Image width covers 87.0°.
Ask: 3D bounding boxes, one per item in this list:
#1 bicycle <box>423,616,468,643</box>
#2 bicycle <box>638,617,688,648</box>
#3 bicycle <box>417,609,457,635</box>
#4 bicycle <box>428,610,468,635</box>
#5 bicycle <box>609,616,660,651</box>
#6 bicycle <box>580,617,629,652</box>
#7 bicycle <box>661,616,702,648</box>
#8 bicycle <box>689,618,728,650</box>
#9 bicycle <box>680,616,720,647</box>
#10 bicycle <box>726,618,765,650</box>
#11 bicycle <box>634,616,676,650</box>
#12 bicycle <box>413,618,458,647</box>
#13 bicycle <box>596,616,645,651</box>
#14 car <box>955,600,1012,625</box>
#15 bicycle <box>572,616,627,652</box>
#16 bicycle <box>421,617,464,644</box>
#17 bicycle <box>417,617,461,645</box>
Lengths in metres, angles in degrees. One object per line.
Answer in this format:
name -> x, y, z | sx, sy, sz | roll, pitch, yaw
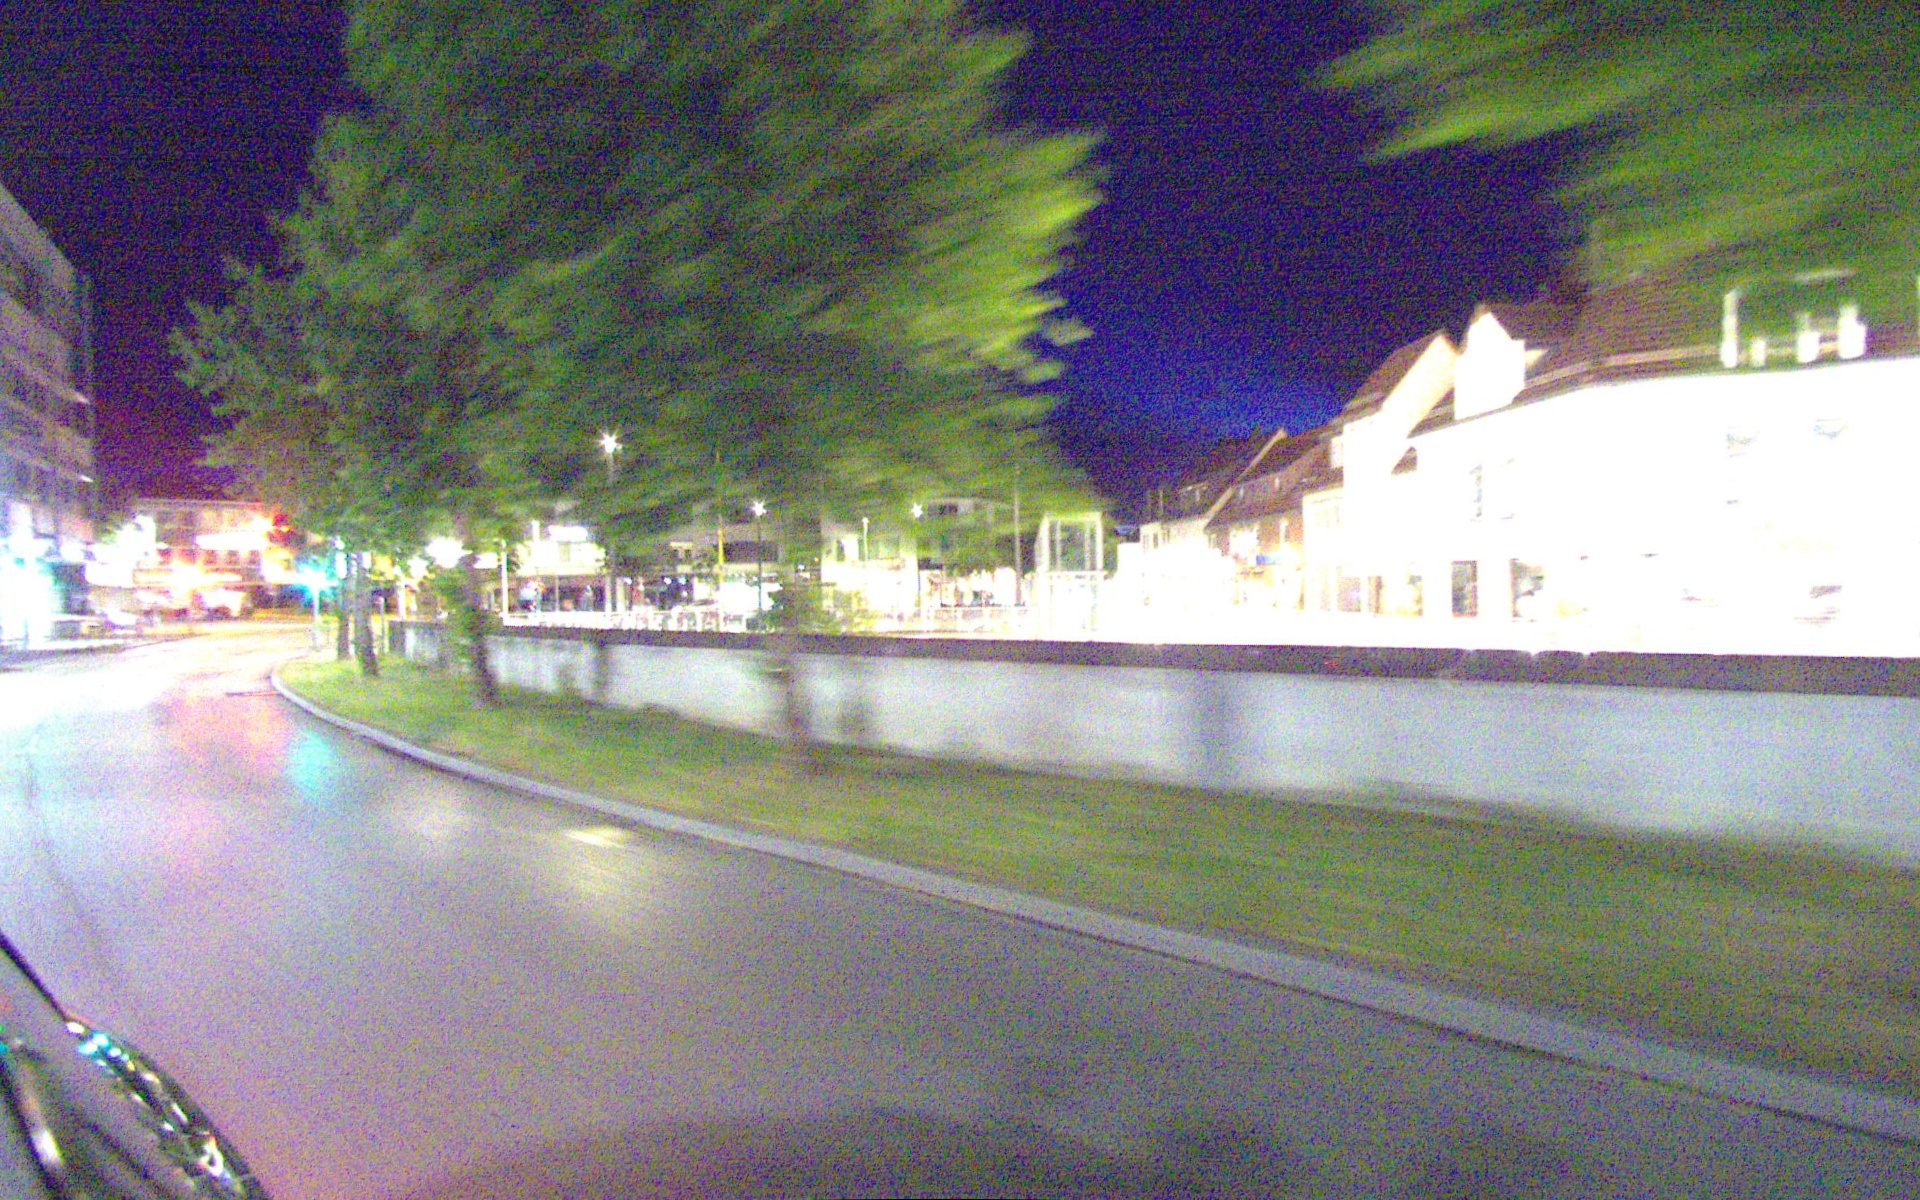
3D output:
bicycle -> -23.025, 1.308, 45.301 | 1.744, 1.173, 0.672 | -1, 0, -30
bicycle -> -10.615, 1.161, 36.163 | 1.737, 1.078, 0.604 | -1, -2, 25
bicycle -> -26.403, 1.098, 51.138 | 1.710, 1.175, 0.789 | -4, 1, -24
bicycle -> -27.031, 1.199, 53.491 | 1.808, 1.166, 0.790 | -4, 2, -24
bicycle -> -11.025, 1.137, 34.289 | 1.739, 1.174, 0.603 | -2, -2, 29
bicycle -> -12.059, 1.159, 34.307 | 1.739, 1.163, 0.539 | -2, -2, 29
bicycle -> -10.166, 1.161, 36.924 | 1.747, 1.133, 0.600 | -2, -2, 43
bicycle -> -9.527, 1.292, 38.324 | 1.747, 1.174, 0.600 | -2, -2, 43
bicycle -> -9.588, 1.173, 37.330 | 1.747, 1.109, 0.600 | -2, -2, 43
bicycle -> -8.483, 1.339, 39.933 | 1.747, 1.228, 0.600 | -2, -2, 43
bicycle -> -10.570, 1.141, 35.055 | 1.747, 1.174, 0.600 | -2, -2, 44
bicycle -> -21.454, 1.329, 41.435 | 1.593, 1.114, 0.672 | -1, 1, -30
bicycle -> -11.914, 1.179, 35.476 | 1.739, 1.174, 0.603 | -2, -2, 29
car -> 1.929, 1.058, 84.103 | 4.343, 1.951, 1.966 | -1, -1, -15
bicycle -> -11.929, 1.130, 33.437 | 1.739, 1.171, 0.754 | -2, -2, 29
bicycle -> -22.187, 1.301, 43.393 | 1.593, 1.114, 0.672 | -1, 1, -30
bicycle -> -21.964, 1.307, 42.652 | 1.593, 1.114, 0.672 | -1, 1, -30
